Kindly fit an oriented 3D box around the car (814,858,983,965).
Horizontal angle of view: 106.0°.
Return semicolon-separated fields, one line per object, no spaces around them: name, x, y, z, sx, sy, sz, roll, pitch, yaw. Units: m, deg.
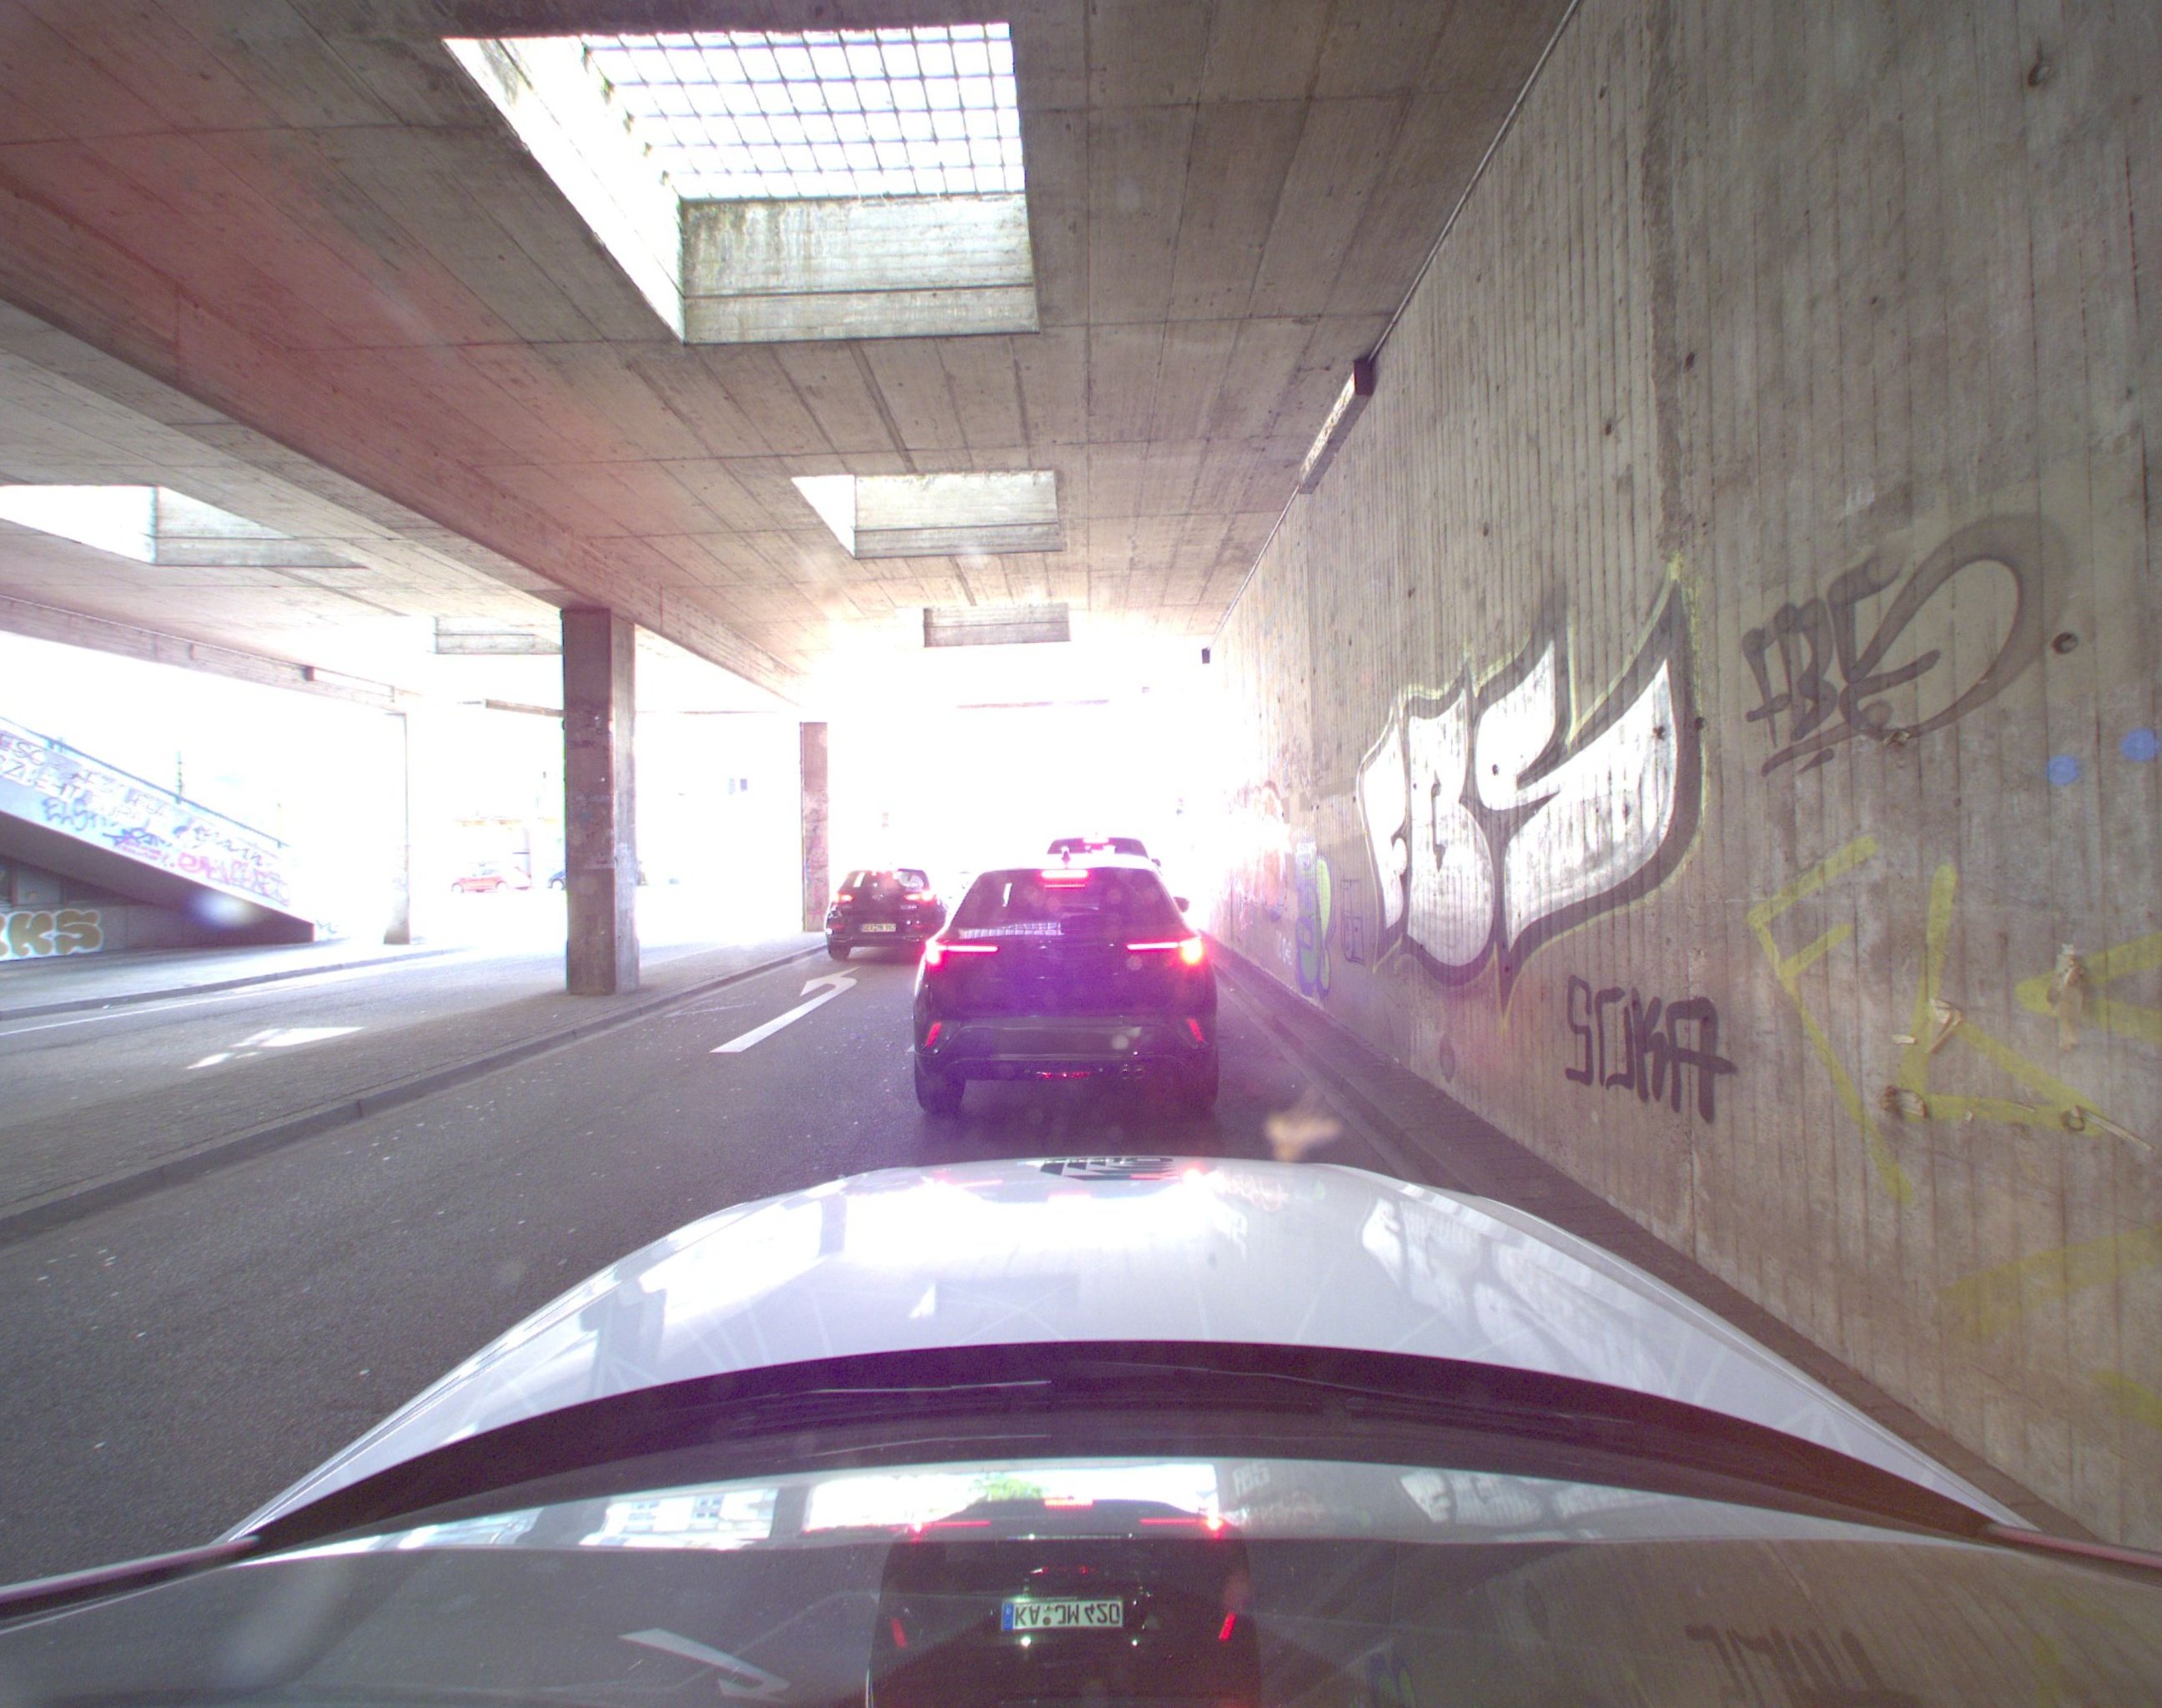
car;-2.767;0.802;13.341;1.773;1.447;4.178;0;0;1

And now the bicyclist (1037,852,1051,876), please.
bicyclist;-2.477;0.675;54.620;0.724;1.581;0.817;-1;-1;11

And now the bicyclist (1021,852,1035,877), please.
bicyclist;-3.376;0.655;51.795;0.724;1.581;0.817;-1;-1;11

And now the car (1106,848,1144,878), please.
car;2.410;0.508;44.283;1.959;1.497;3.900;-2;-2;4

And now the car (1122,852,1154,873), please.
car;4.409;0.648;62.268;1.955;1.497;3.908;-2;-2;11

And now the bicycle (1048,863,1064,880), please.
bicycle;-1.584;1.102;52.268;0.621;1.067;1.694;-1;-1;11

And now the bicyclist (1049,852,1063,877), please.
bicyclist;-1.606;0.645;52.248;0.724;1.581;0.817;-1;-1;11

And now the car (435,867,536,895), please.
car;-33.010;1.483;45.256;3.970;1.374;2.192;-2;0;3

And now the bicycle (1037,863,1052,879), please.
bicycle;-2.435;1.116;54.836;0.621;1.067;1.694;-1;-1;11

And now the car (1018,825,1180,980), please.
car;0.286;0.600;12.025;1.938;1.860;3.966;-2;0;2

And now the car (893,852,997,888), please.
car;-6.288;0.738;37.846;4.362;1.552;1.886;-1;0;6

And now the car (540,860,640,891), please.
car;-27.206;1.192;45.257;4.114;1.550;2.268;-2;0;1

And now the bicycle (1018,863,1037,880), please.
bicycle;-3.386;1.112;51.760;0.727;1.067;1.694;-1;-1;11

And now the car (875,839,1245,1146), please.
car;-0.046;0.717;6.204;1.875;1.538;3.966;-2;0;2

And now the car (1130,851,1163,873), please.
car;5.591;0.693;69.053;2.206;1.719;4.474;-2;-2;12
